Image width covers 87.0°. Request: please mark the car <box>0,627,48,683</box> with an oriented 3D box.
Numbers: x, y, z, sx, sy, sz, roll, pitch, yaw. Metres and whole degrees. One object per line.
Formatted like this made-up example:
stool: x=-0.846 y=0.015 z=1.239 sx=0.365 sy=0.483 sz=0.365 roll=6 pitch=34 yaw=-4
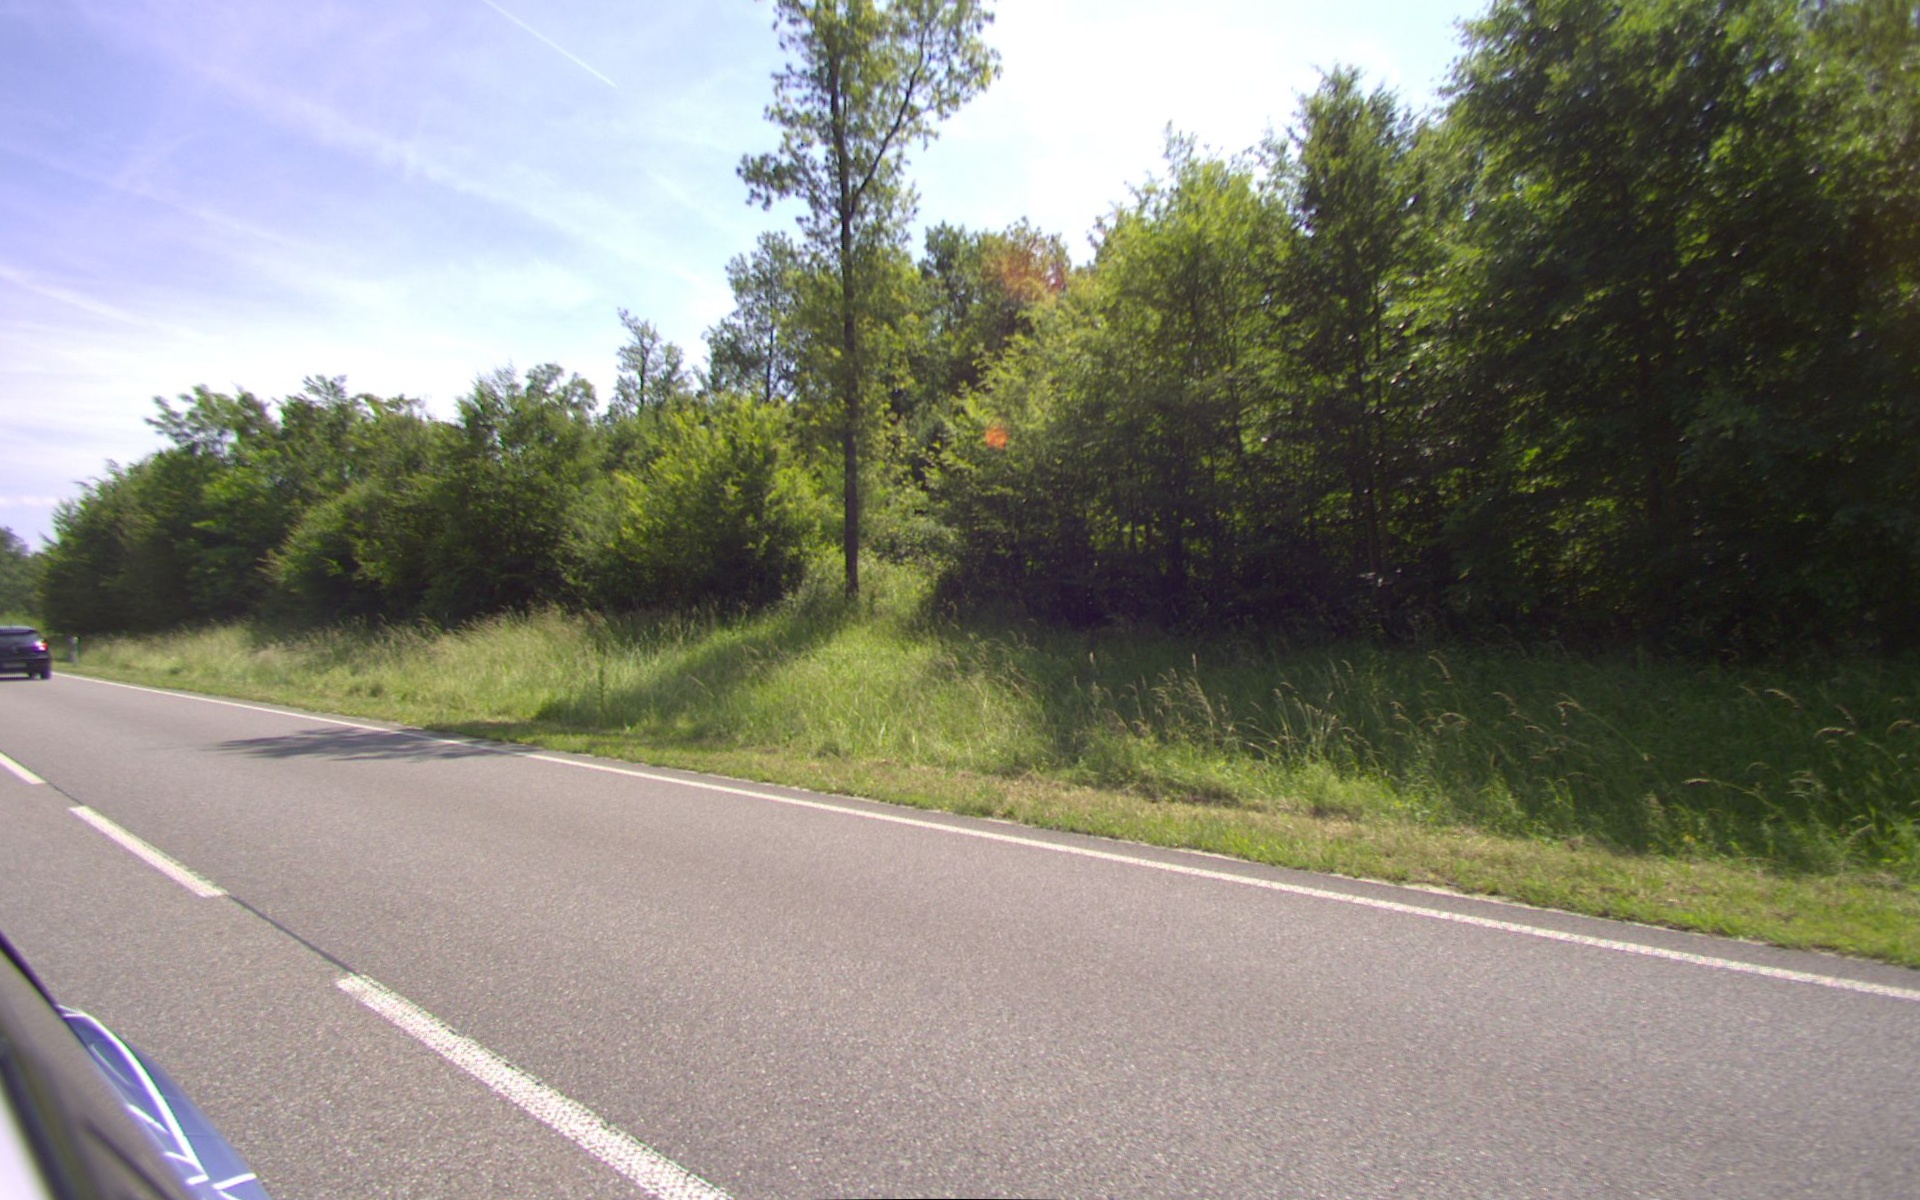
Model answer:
car: x=-27.247 y=1.541 z=28.738 sx=3.805 sy=1.506 sz=1.642 roll=-2 pitch=-3 yaw=43
